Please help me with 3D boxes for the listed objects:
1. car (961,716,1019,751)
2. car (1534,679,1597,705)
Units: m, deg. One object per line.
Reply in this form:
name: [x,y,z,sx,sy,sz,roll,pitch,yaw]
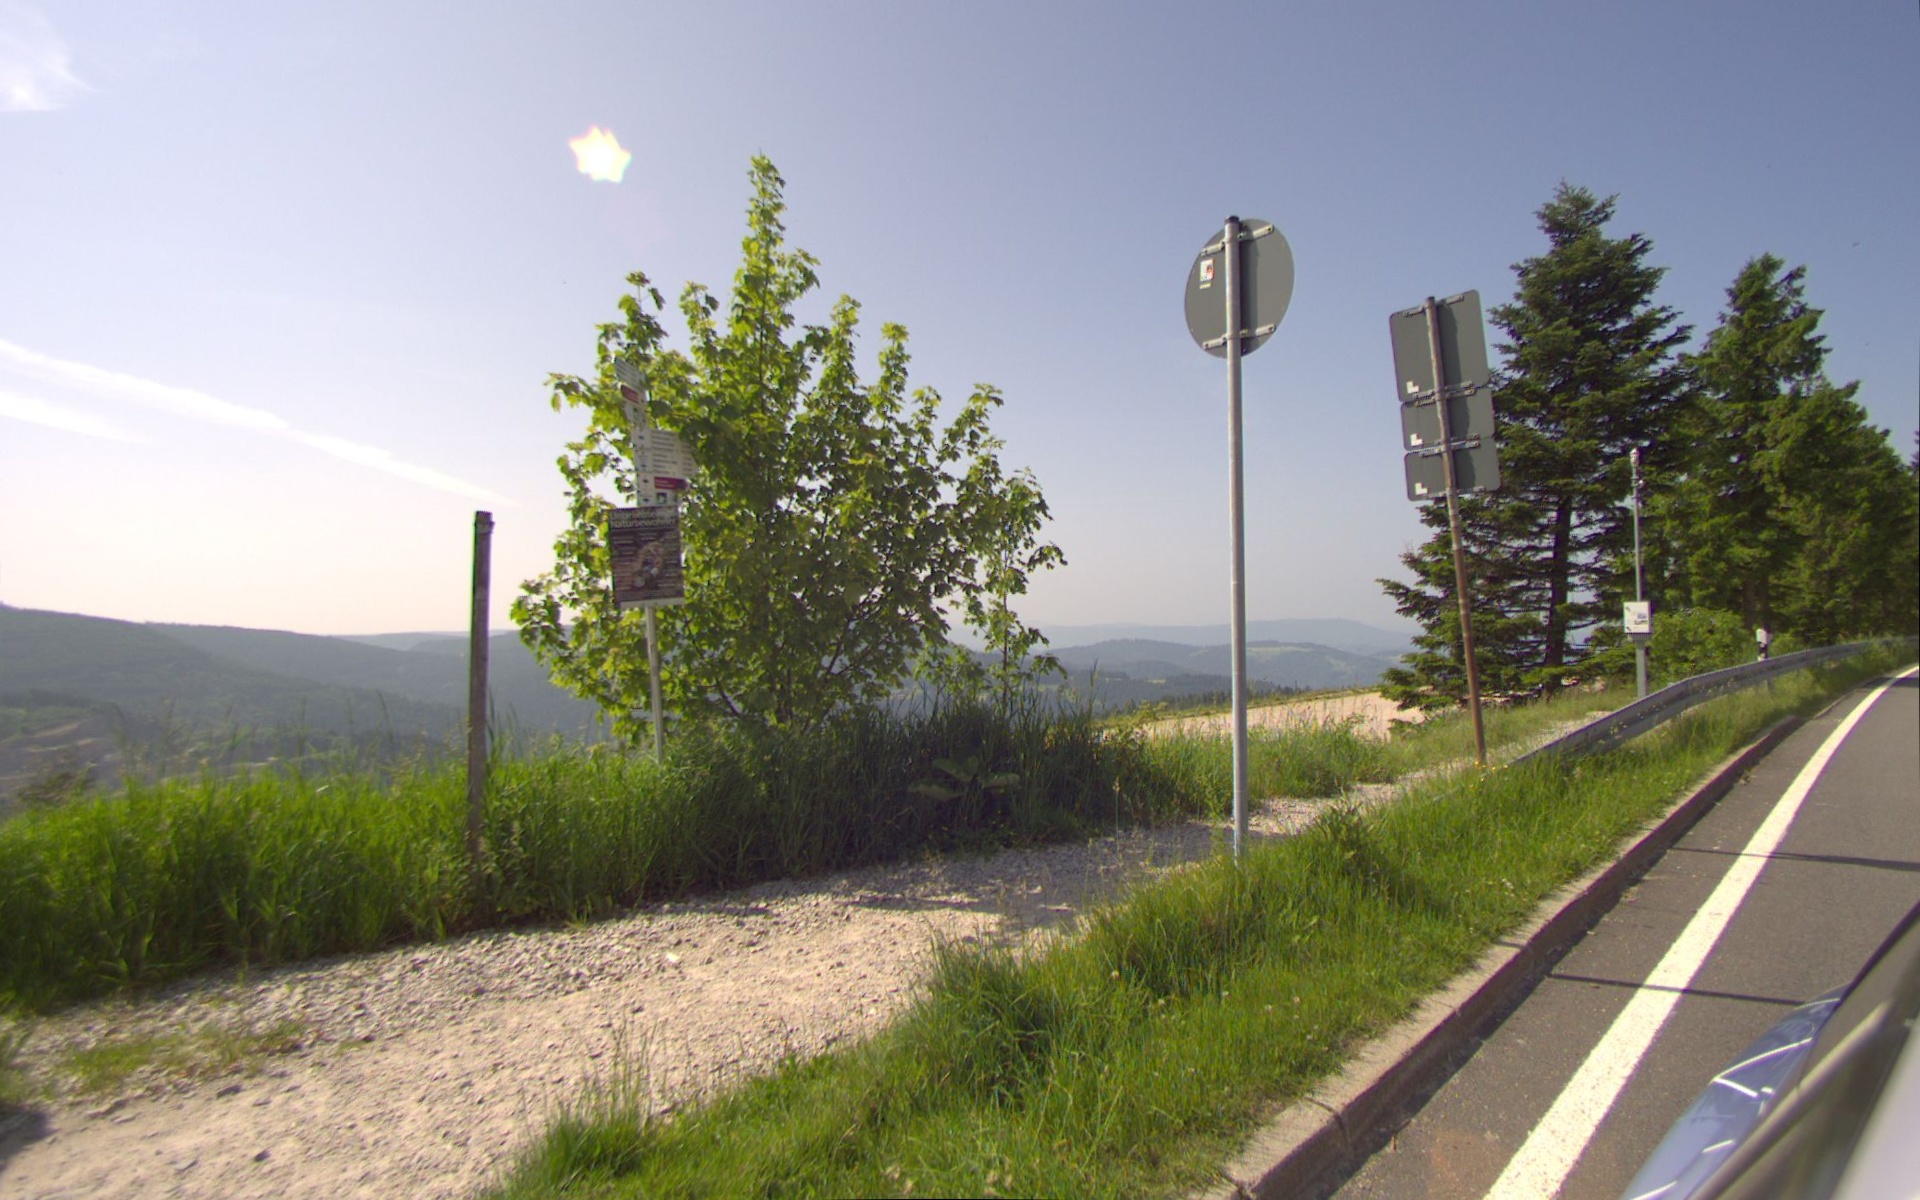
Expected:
car: [1.804,8.164,62.030,1.767,1.687,3.523,1,-1,-35]
car: [46.738,7.101,78.162,1.806,1.616,3.783,-2,0,-28]
